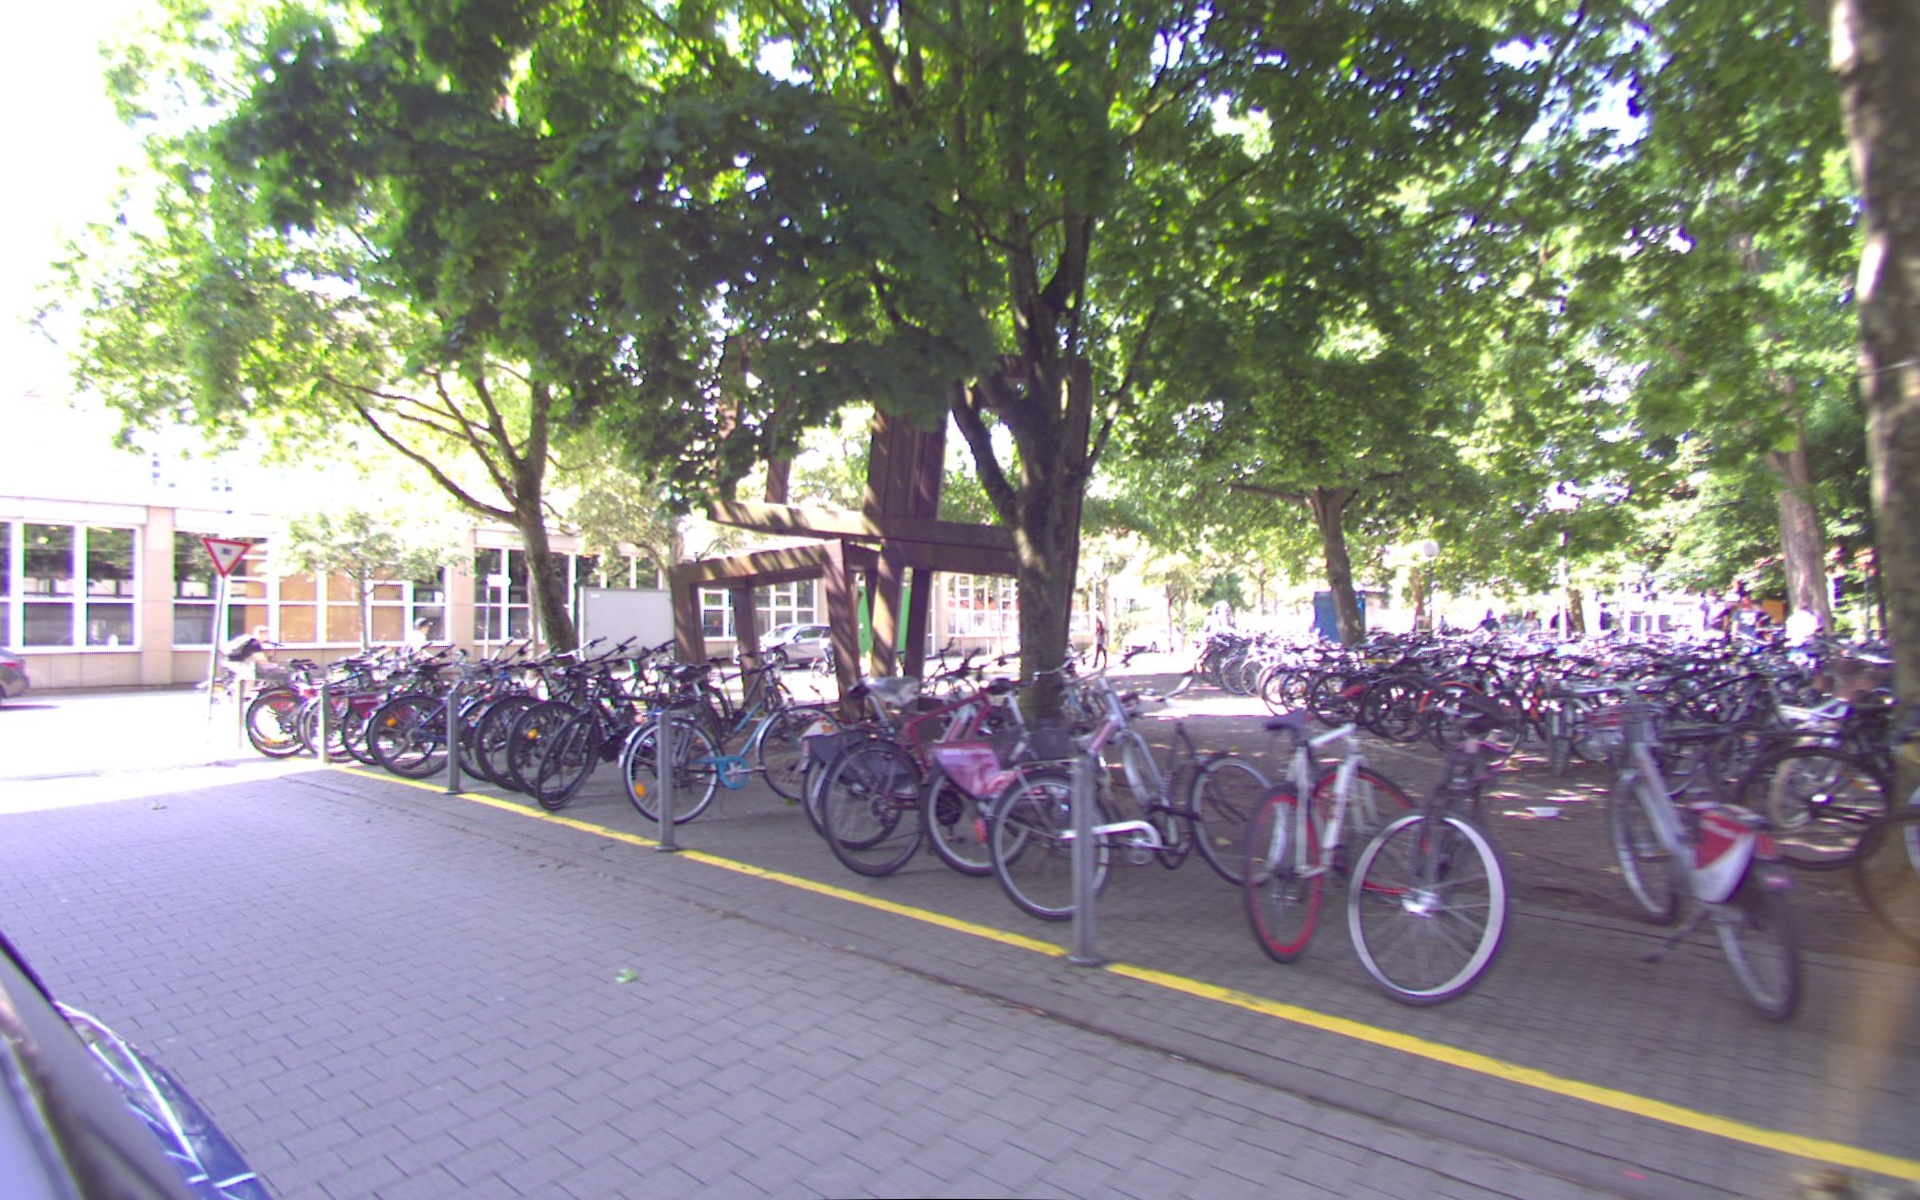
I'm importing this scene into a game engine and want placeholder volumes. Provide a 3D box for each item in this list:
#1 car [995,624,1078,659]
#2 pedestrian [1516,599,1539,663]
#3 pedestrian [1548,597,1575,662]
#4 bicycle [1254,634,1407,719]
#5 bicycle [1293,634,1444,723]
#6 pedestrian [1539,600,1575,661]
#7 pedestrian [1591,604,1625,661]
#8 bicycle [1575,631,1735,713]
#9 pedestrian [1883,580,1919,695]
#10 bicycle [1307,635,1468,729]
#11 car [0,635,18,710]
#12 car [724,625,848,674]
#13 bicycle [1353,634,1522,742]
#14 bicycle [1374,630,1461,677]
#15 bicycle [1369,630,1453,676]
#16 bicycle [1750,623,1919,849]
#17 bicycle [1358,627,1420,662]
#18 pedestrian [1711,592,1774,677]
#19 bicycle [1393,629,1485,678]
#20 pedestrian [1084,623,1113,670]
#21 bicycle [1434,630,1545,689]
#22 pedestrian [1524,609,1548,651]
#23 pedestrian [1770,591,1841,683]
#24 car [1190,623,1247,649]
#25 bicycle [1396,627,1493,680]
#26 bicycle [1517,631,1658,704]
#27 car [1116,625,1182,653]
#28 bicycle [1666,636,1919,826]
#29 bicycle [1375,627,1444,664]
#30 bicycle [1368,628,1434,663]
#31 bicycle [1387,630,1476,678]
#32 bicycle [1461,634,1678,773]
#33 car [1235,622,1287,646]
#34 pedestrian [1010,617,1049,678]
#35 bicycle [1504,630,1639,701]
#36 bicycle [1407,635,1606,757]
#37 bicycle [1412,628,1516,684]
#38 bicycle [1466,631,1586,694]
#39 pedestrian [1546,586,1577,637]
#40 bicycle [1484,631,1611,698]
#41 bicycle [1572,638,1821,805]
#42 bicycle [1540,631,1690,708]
[{"bbox_3d":[3.778,1.997,49.324,1.836,1.646,4.480,-2,-2,38],"label":"car"},{"bbox_3d":[16.195,0.883,28.868,0.501,1.784,0.663,-2,-1,33],"label":"pedestrian"},{"bbox_3d":[16.878,0.828,28.389,0.608,1.788,0.652,-2,-1,33],"label":"pedestrian"},{"bbox_3d":[5.073,1.050,13.924,1.881,1.116,0.502,-1,-1,3],"label":"bicycle"},{"bbox_3d":[5.362,1.025,13.336,1.756,1.116,0.502,-1,-1,3],"label":"bicycle"},{"bbox_3d":[18.078,0.915,30.658,0.765,1.788,0.900,-1,-1,23],"label":"pedestrian"},{"bbox_3d":[20.739,1.030,32.376,0.769,1.788,0.895,-2,-1,41],"label":"pedestrian"},{"bbox_3d":[9.720,1.000,14.186,1.834,1.092,0.474,-1,-1,3],"label":"bicycle"},{"bbox_3d":[15.244,0.579,15.819,0.761,1.788,0.905,-1,-1,7],"label":"pedestrian"},{"bbox_3d":[5.307,1.013,12.615,1.756,1.116,0.502,-1,-1,3],"label":"bicycle"},{"bbox_3d":[-21.265,1.488,19.675,1.652,1.487,4.155,0,0,40],"label":"car"},{"bbox_3d":[-6.360,1.757,37.401,1.836,1.630,4.480,0,-1,38],"label":"car"},{"bbox_3d":[5.288,0.960,11.228,1.672,1.116,0.504,-1,-1,-9],"label":"bicycle"},{"bbox_3d":[11.018,1.275,24.392,1.834,1.092,0.474,-1,-1,3],"label":"bicycle"},{"bbox_3d":[11.122,1.303,24.988,1.834,1.092,0.474,-1,-1,3],"label":"bicycle"},{"bbox_3d":[5.651,0.752,6.008,1.671,1.209,0.577,-1,-1,-13],"label":"bicycle"},{"bbox_3d":[14.027,1.451,33.106,1.848,1.092,0.470,-1,-1,24],"label":"bicycle"},{"bbox_3d":[16.963,0.743,21.970,0.763,1.788,0.902,-1,-1,17],"label":"pedestrian"},{"bbox_3d":[10.958,1.216,23.185,1.834,1.092,0.474,-1,-1,3],"label":"bicycle"},{"bbox_3d":[4.605,1.537,33.688,0.571,1.531,0.829,-2,-1,43],"label":"pedestrian"},{"bbox_3d":[10.143,1.144,19.430,1.834,1.092,0.474,-1,-1,3],"label":"bicycle"},{"bbox_3d":[24.793,1.285,43.588,0.765,1.816,0.900,-1,-1,23],"label":"pedestrian"},{"bbox_3d":[16.871,0.728,20.208,0.764,1.788,0.901,-1,-1,18],"label":"pedestrian"},{"bbox_3d":[16.423,2.255,64.246,1.836,1.553,4.480,-2,-2,38],"label":"car"},{"bbox_3d":[10.476,1.156,21.922,1.834,1.092,0.474,-1,-1,3],"label":"bicycle"},{"bbox_3d":[9.750,1.043,15.762,1.834,1.092,0.474,-1,-1,3],"label":"bicycle"},{"bbox_3d":[10.793,2.198,57.675,1.836,1.553,4.480,-2,-2,38],"label":"car"},{"bbox_3d":[5.541,0.813,6.619,1.671,1.116,0.504,-1,-1,-13],"label":"bicycle"},{"bbox_3d":[13.646,1.391,30.780,1.838,1.092,0.473,-1,-1,10],"label":"bicycle"},{"bbox_3d":[13.912,1.435,31.963,1.838,1.092,0.473,-1,-1,10],"label":"bicycle"},{"bbox_3d":[11.094,1.274,23.831,1.834,1.092,0.474,-1,-1,3],"label":"bicycle"},{"bbox_3d":[5.319,0.880,8.849,1.672,1.116,0.504,-1,-1,-9],"label":"bicycle"},{"bbox_3d":[20.287,2.294,68.178,1.836,1.553,4.480,-2,-2,38],"label":"car"},{"bbox_3d":[1.947,1.324,28.463,0.727,1.697,0.863,-2,-2,37],"label":"pedestrian"},{"bbox_3d":[9.818,1.051,16.286,1.834,1.092,0.474,-1,-1,3],"label":"bicycle"},{"bbox_3d":[5.389,0.922,10.012,1.672,1.116,0.633,-1,-1,-9],"label":"bicycle"},{"bbox_3d":[10.258,1.131,20.636,1.834,1.092,0.474,-1,-1,3],"label":"bicycle"},{"bbox_3d":[10.221,1.121,18.304,1.834,1.092,0.474,-1,-1,3],"label":"bicycle"},{"bbox_3d":[21.664,0.420,36.461,0.765,1.788,0.900,-1,-1,23],"label":"pedestrian"},{"bbox_3d":[10.037,1.096,17.328,1.834,1.092,0.474,-1,-1,3],"label":"bicycle"},{"bbox_3d":[5.452,0.867,7.500,1.671,1.116,0.504,-1,-1,-13],"label":"bicycle"},{"bbox_3d":[9.626,1.019,14.903,1.834,1.092,0.474,-1,-1,3],"label":"bicycle"}]
